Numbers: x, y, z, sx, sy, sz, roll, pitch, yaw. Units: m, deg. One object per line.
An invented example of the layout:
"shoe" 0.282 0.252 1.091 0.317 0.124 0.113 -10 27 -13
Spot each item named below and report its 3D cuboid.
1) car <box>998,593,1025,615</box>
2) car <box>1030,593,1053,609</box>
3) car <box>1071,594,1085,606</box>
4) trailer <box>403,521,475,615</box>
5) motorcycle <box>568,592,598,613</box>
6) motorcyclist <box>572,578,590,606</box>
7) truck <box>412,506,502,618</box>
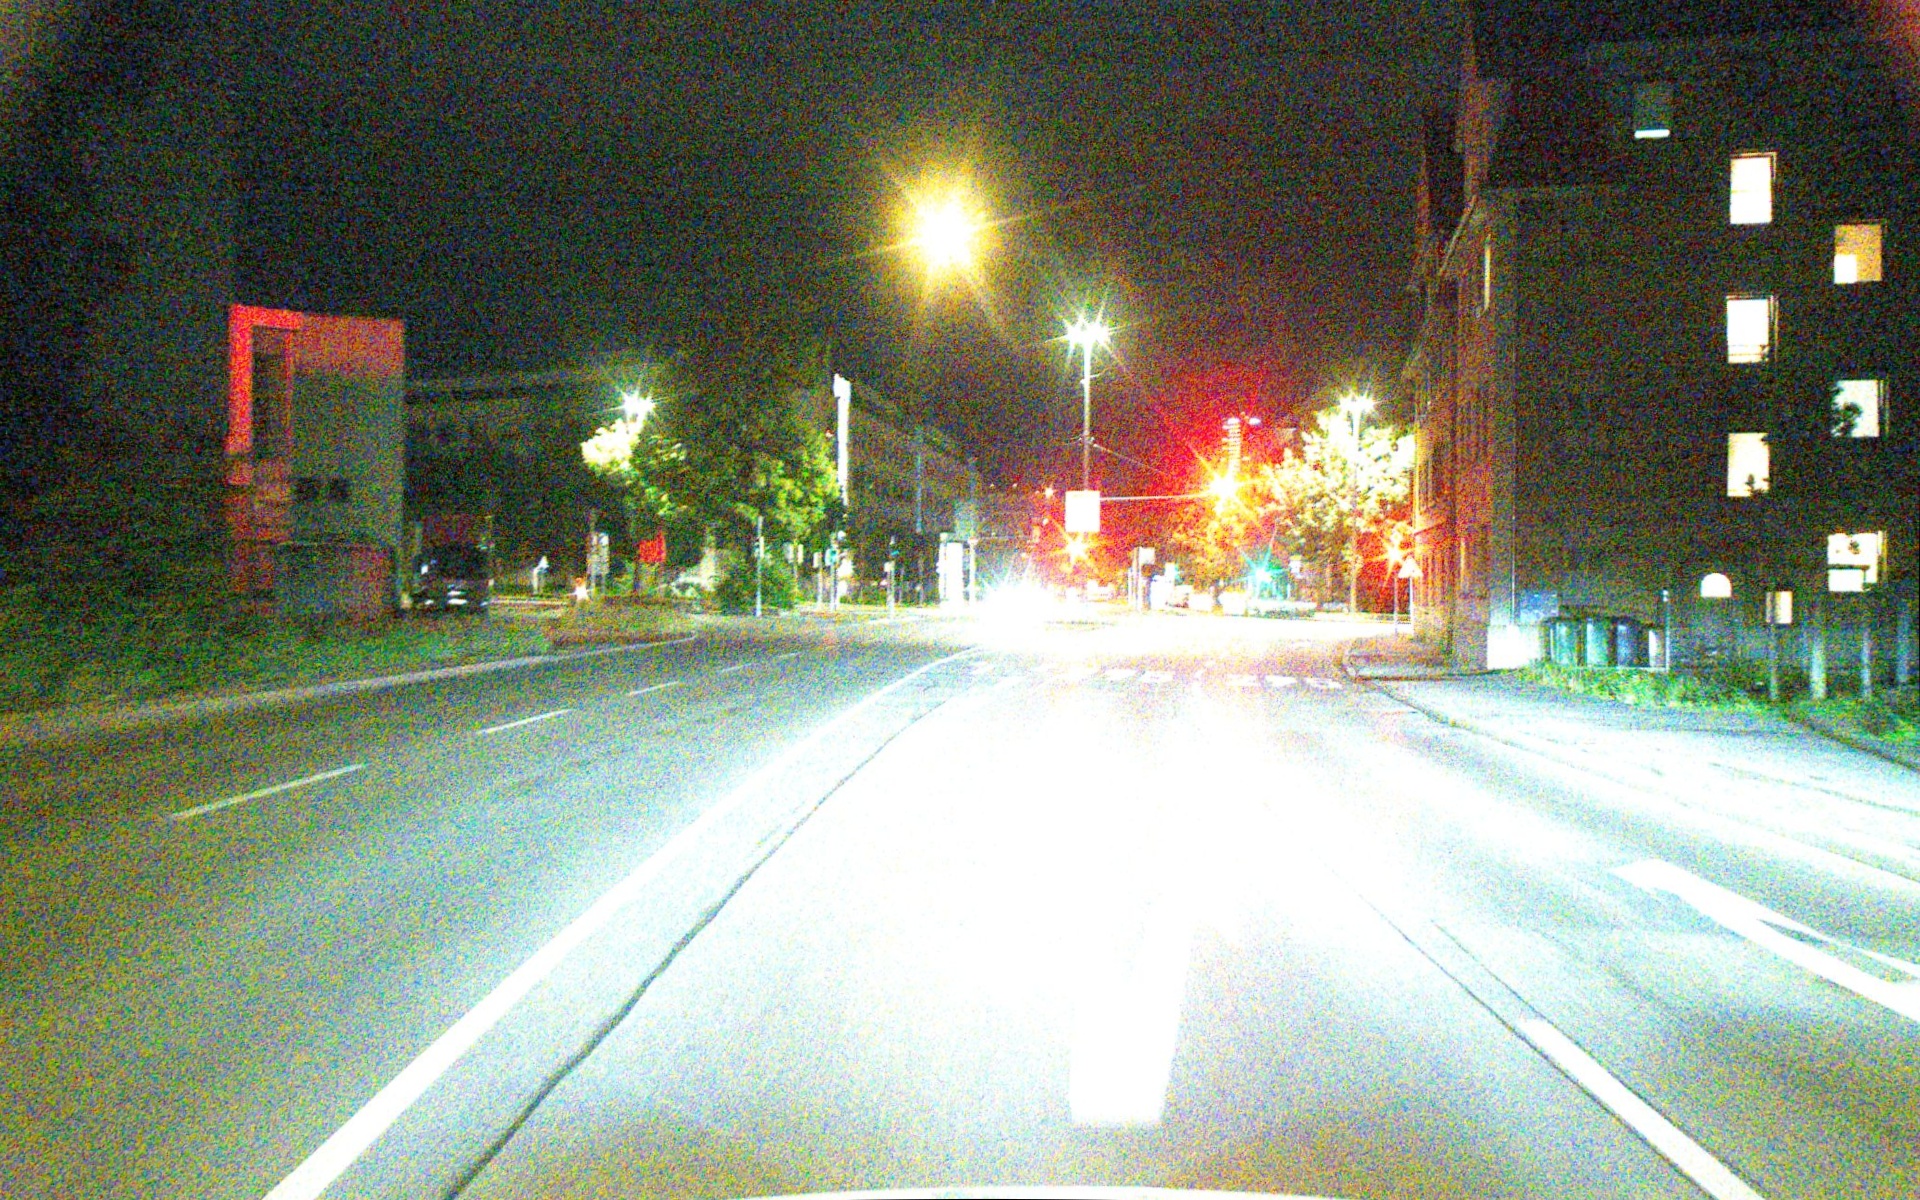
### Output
"car" 3.732 0.279 119.489 1.581 1.541 4.003 1 0 7
"car" 7.077 0.078 142.643 1.720 1.345 3.550 1 0 7
"car" 16.569 0.017 232.807 1.720 1.758 3.550 1 0 7
"trailer" -22.883 -1.357 72.455 2.576 3.857 6.474 1 0 -21
"motorcycle" -17.406 0.101 76.288 0.573 0.911 2.129 -2 1 -35
"motorcyclist" -17.406 -0.368 75.996 0.641 1.283 0.572 1 0 -35
"truck" -19.159 -1.349 62.596 2.893 3.863 9.505 1 0 -19
